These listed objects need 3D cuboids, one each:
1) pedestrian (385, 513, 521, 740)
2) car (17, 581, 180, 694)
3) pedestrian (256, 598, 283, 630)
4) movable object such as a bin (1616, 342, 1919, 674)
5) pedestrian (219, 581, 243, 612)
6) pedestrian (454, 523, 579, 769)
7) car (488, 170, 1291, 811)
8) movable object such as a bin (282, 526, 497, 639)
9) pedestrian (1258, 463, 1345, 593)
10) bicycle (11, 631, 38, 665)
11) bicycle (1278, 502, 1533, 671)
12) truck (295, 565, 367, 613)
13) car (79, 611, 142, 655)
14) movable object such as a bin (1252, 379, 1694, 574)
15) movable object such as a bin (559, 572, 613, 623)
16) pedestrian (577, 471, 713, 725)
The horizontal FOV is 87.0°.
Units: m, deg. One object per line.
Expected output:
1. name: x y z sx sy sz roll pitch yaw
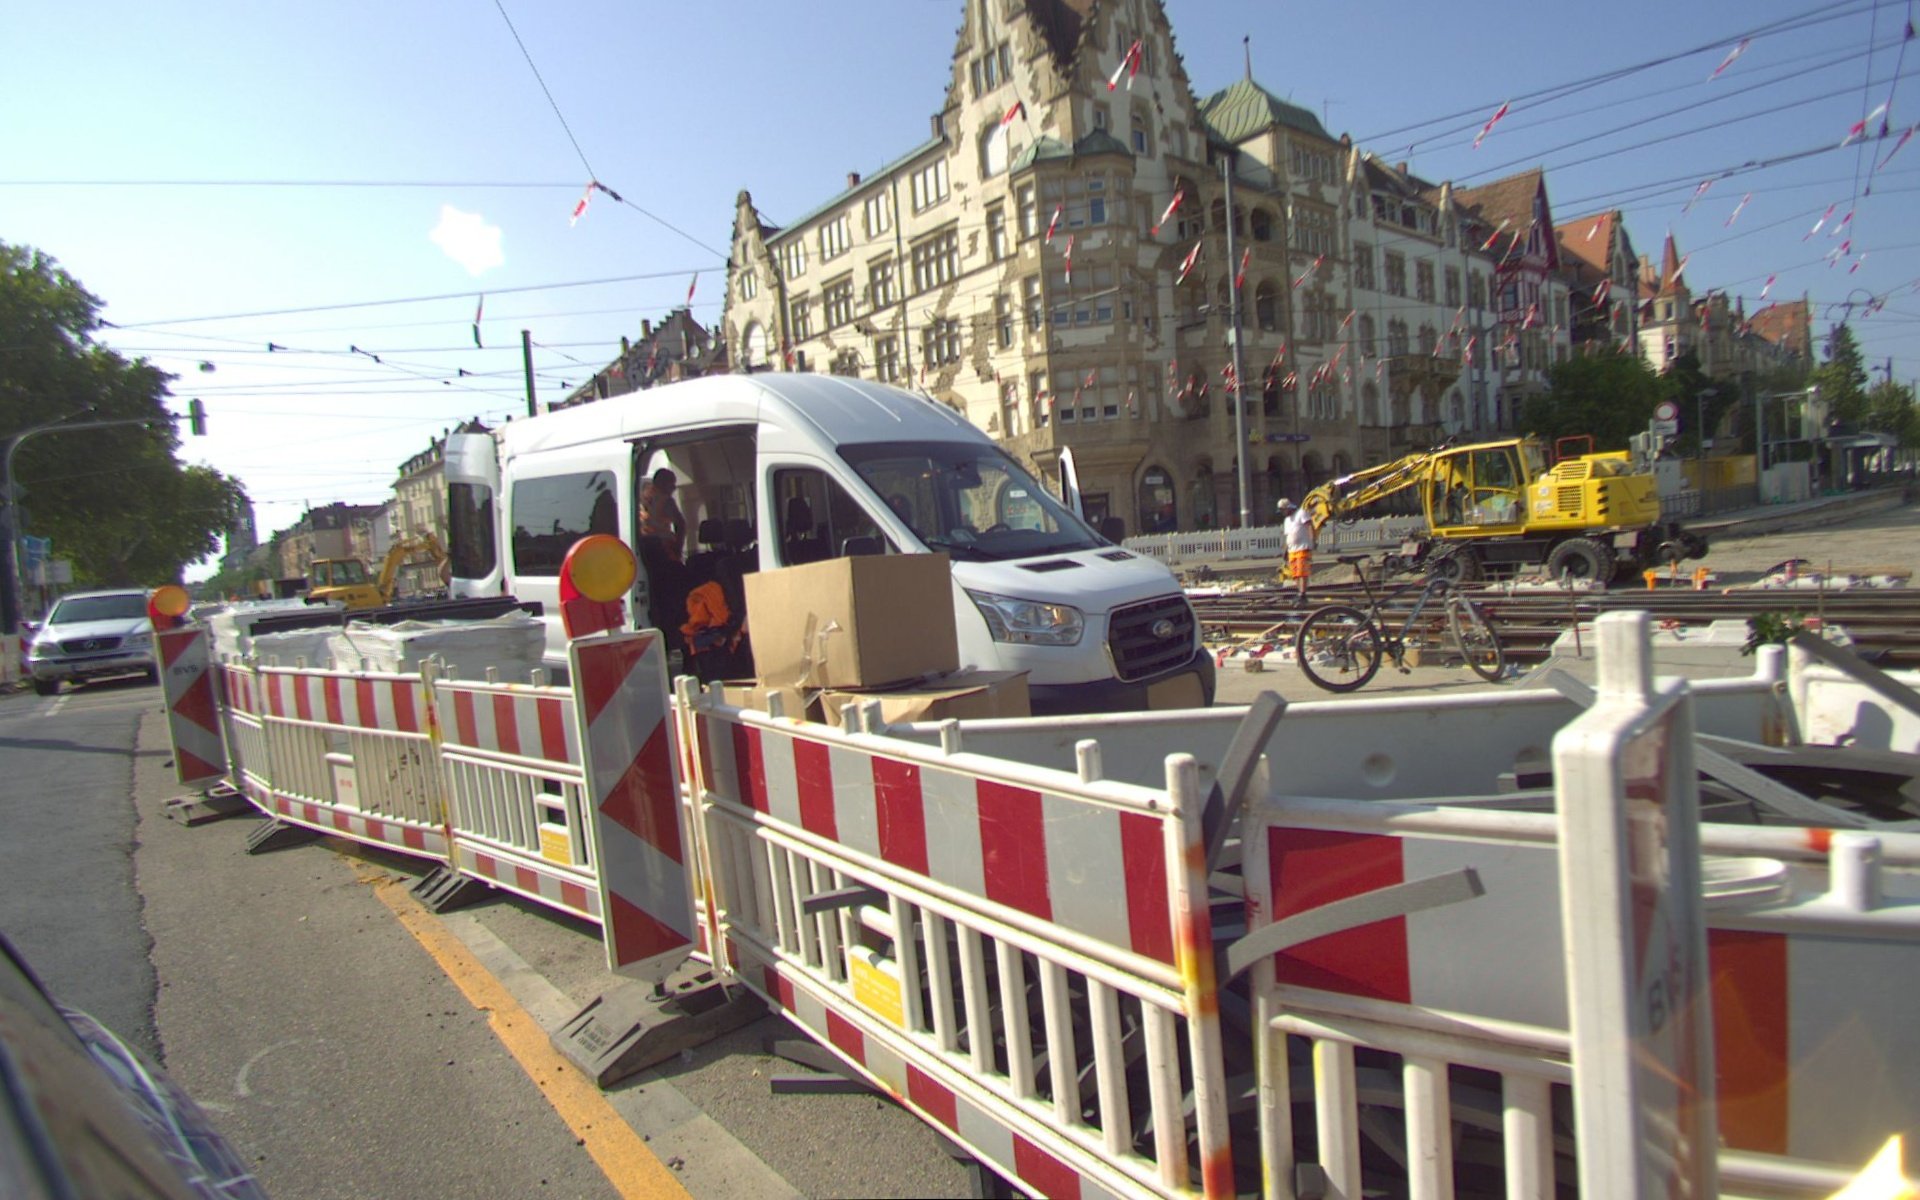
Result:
1. pedestrian: -4.815 0.224 9.684 0.725 2.028 0.908 -4 3 -6
2. car: -16.256 0.622 19.289 1.969 1.707 5.235 -7 4 -39
3. pedestrian: -39.337 0.790 57.688 1.019 1.722 1.097 -7 4 -40
4. movable object such as a bin: 3.358 -0.330 3.664 0.635 1.100 1.485 -7 4 -35
5. pedestrian: -52.580 -0.261 73.031 0.897 2.027 0.914 -7 5 -12
6. pedestrian: -3.975 0.373 9.048 0.724 2.028 0.910 -6 3 -32
7. car: -0.769 -0.486 6.858 5.166 2.748 2.204 -2 4 40
8. movable object such as a bin: -19.911 -0.725 35.747 2.109 3.369 6.102 -3 4 31
9. pedestrian: 5.322 -1.109 15.785 1.137 1.879 1.014 -3 3 20
10. bicycle: -29.603 1.500 32.028 0.405 0.994 1.379 -7 3 -37
11. bicycle: 3.428 -0.112 7.882 1.640 1.144 0.617 -4 3 4
12. truck: -33.467 -0.567 53.718 2.132 2.237 7.062 -6 4 -40
13. car: -39.314 1.486 46.922 1.969 1.707 5.235 -7 3 -39
14. movable object such as a bin: 11.026 -2.483 22.773 2.810 3.353 8.364 -6 4 -37
15. movable object such as a bin: -9.476 -0.066 25.595 0.740 1.178 2.297 -6 3 -32
16. pedestrian: -2.705 -0.036 8.672 0.724 2.028 0.910 -6 3 -33
